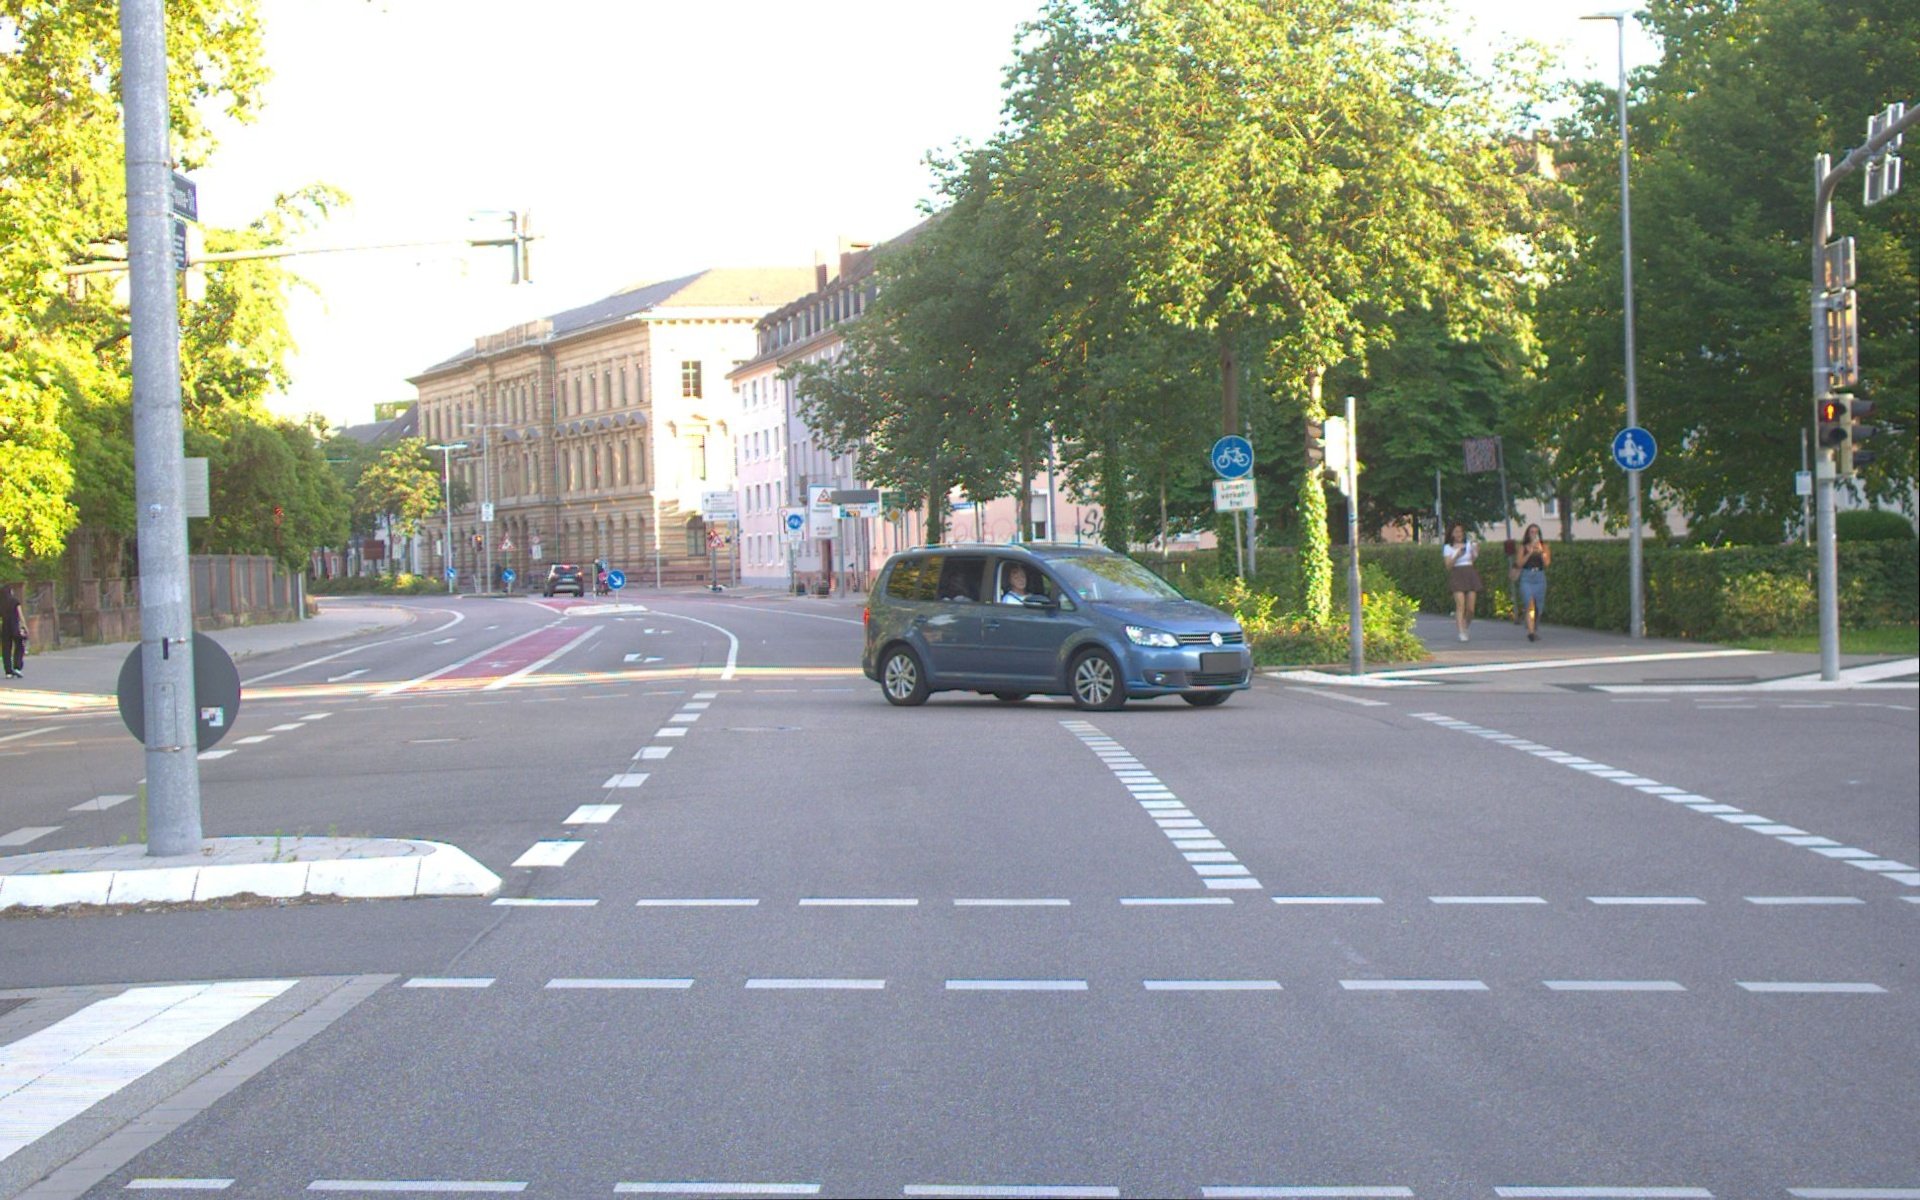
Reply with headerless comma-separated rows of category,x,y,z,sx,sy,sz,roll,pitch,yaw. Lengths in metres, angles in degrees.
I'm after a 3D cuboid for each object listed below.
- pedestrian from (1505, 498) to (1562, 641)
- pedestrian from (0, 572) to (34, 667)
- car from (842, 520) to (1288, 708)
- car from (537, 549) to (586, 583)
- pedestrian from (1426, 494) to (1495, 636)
pedestrian,8.109,-0.438,48.627,0.635,2.007,0.720,-1,1,-4
pedestrian,-15.862,0.323,57.389,0.599,1.568,0.646,-2,1,-1
car,0.980,0.132,34.050,1.851,1.714,4.293,-2,1,-44
car,-19.672,-1.659,169.720,1.819,1.583,4.001,-3,1,-14
pedestrian,7.170,-0.505,49.274,0.870,2.007,0.722,0,1,-1
